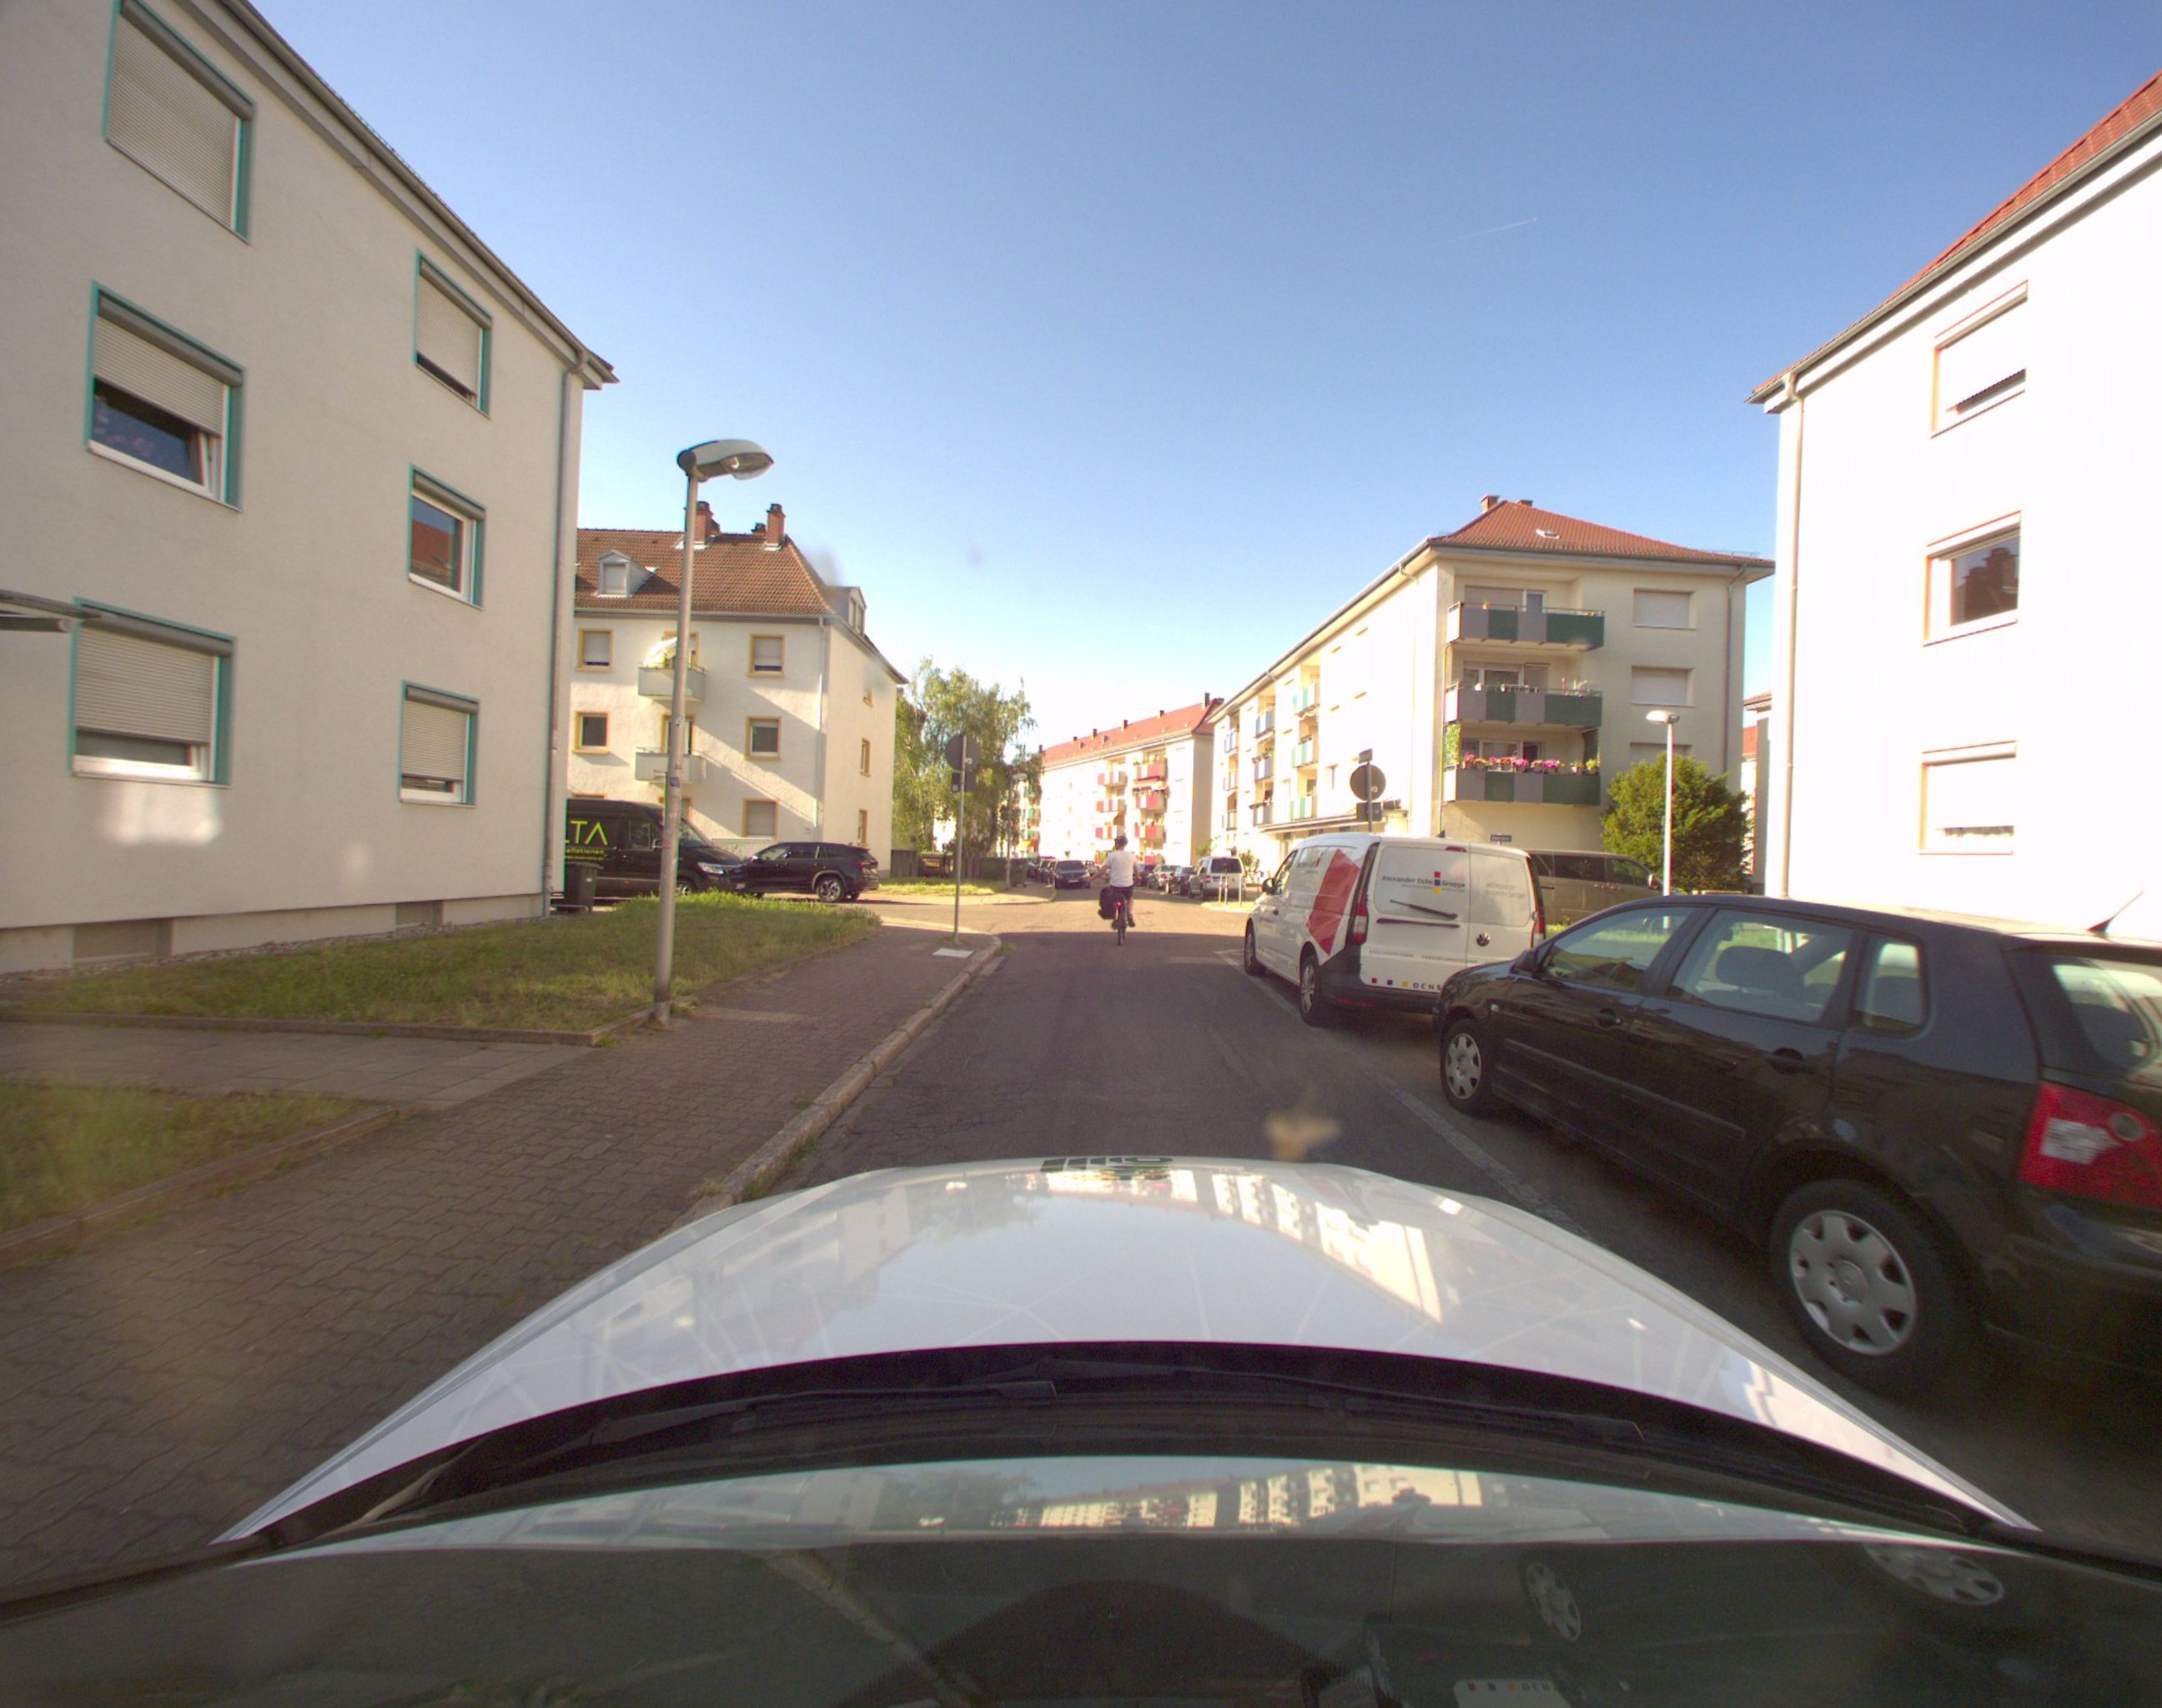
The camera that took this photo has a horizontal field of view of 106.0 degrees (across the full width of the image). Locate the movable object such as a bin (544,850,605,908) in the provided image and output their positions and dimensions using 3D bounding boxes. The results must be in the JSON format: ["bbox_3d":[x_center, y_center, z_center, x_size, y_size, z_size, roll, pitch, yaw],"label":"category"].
[{"bbox_3d":[-9.125,0.441,14.684,0.611,0.992,0.714,2,0,-1],"label":"movable object such as a bin"}]

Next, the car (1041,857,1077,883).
[{"bbox_3d":[-1.338,0.907,47.573,1.677,1.442,4.268,-1,0,-8],"label":"car"}]

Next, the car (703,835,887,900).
[{"bbox_3d":[-7.908,0.386,22.790,4.473,1.664,1.719,1,-2,0],"label":"car"}]

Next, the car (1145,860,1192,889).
[{"bbox_3d":[4.866,1.105,45.767,1.675,1.447,4.716,3,0,-5],"label":"car"}]

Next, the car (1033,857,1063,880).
[{"bbox_3d":[-2.193,0.917,52.908,1.554,1.442,3.957,-1,0,-8],"label":"car"}]

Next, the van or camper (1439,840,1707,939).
[{"bbox_3d":[11.475,0.786,19.256,5.108,2.013,2.000,2,1,-1],"label":"van or camper"}]

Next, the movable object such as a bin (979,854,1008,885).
[{"bbox_3d":[-4.101,0.707,38.256,1.215,1.380,0.768,3,-1,3],"label":"movable object such as a bin"}]

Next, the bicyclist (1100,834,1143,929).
[{"bbox_3d":[0.713,0.458,14.156,0.592,1.579,0.910,1,0,11],"label":"bicyclist"}]

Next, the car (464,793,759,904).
[{"bbox_3d":[-11.218,-0.133,19.789,5.922,2.545,1.999,0,0,-1],"label":"car"}]

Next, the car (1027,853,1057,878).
[{"bbox_3d":[-2.826,0.799,58.365,1.556,1.714,4.321,-1,0,-11],"label":"car"}]

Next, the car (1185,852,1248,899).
[{"bbox_3d":[5.592,0.855,34.132,1.743,1.824,4.126,-1,0,-3],"label":"car"}]

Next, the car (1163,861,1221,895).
[{"bbox_3d":[5.315,1.132,39.599,1.676,1.407,4.535,3,0,-7],"label":"car"}]

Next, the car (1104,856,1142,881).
[{"bbox_3d":[2.997,1.077,58.578,1.695,1.656,4.371,1,-2,-12],"label":"car"}]

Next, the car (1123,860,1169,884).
[{"bbox_3d":[4.060,1.107,51.680,1.695,1.431,4.668,0,-1,-12],"label":"car"}]

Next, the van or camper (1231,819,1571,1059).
[{"bbox_3d":[2.997,0.680,8.879,1.786,1.747,4.736,6,0,1],"label":"van or camper"}]

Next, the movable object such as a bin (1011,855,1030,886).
[{"bbox_3d":[-2.816,0.776,38.003,0.773,1.393,1.416,2,-1,-1],"label":"movable object such as a bin"}]

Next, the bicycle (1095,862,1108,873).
[{"bbox_3d":[2.019,1.305,80.126,0.619,0.978,1.883,-1,2,-21],"label":"bicycle"}]

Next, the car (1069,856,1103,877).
[{"bbox_3d":[0.425,1.082,70.867,1.770,1.635,4.017,0,1,-18],"label":"car"}]

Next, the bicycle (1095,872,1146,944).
[{"bbox_3d":[0.719,0.904,14.208,0.623,1.115,1.821,-1,0,11],"label":"bicycle"}]

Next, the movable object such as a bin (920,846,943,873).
[{"bbox_3d":[-7.994,0.296,43.536,1.058,1.435,1.002,0,0,-2],"label":"movable object such as a bin"}]

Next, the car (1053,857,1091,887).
[{"bbox_3d":[-0.526,0.877,42.478,1.675,1.453,4.614,-1,0,-4],"label":"car"}]

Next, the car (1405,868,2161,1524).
[{"bbox_3d":[3.083,0.847,3.775,1.568,1.417,3.787,3,0,-1],"label":"car"}]
